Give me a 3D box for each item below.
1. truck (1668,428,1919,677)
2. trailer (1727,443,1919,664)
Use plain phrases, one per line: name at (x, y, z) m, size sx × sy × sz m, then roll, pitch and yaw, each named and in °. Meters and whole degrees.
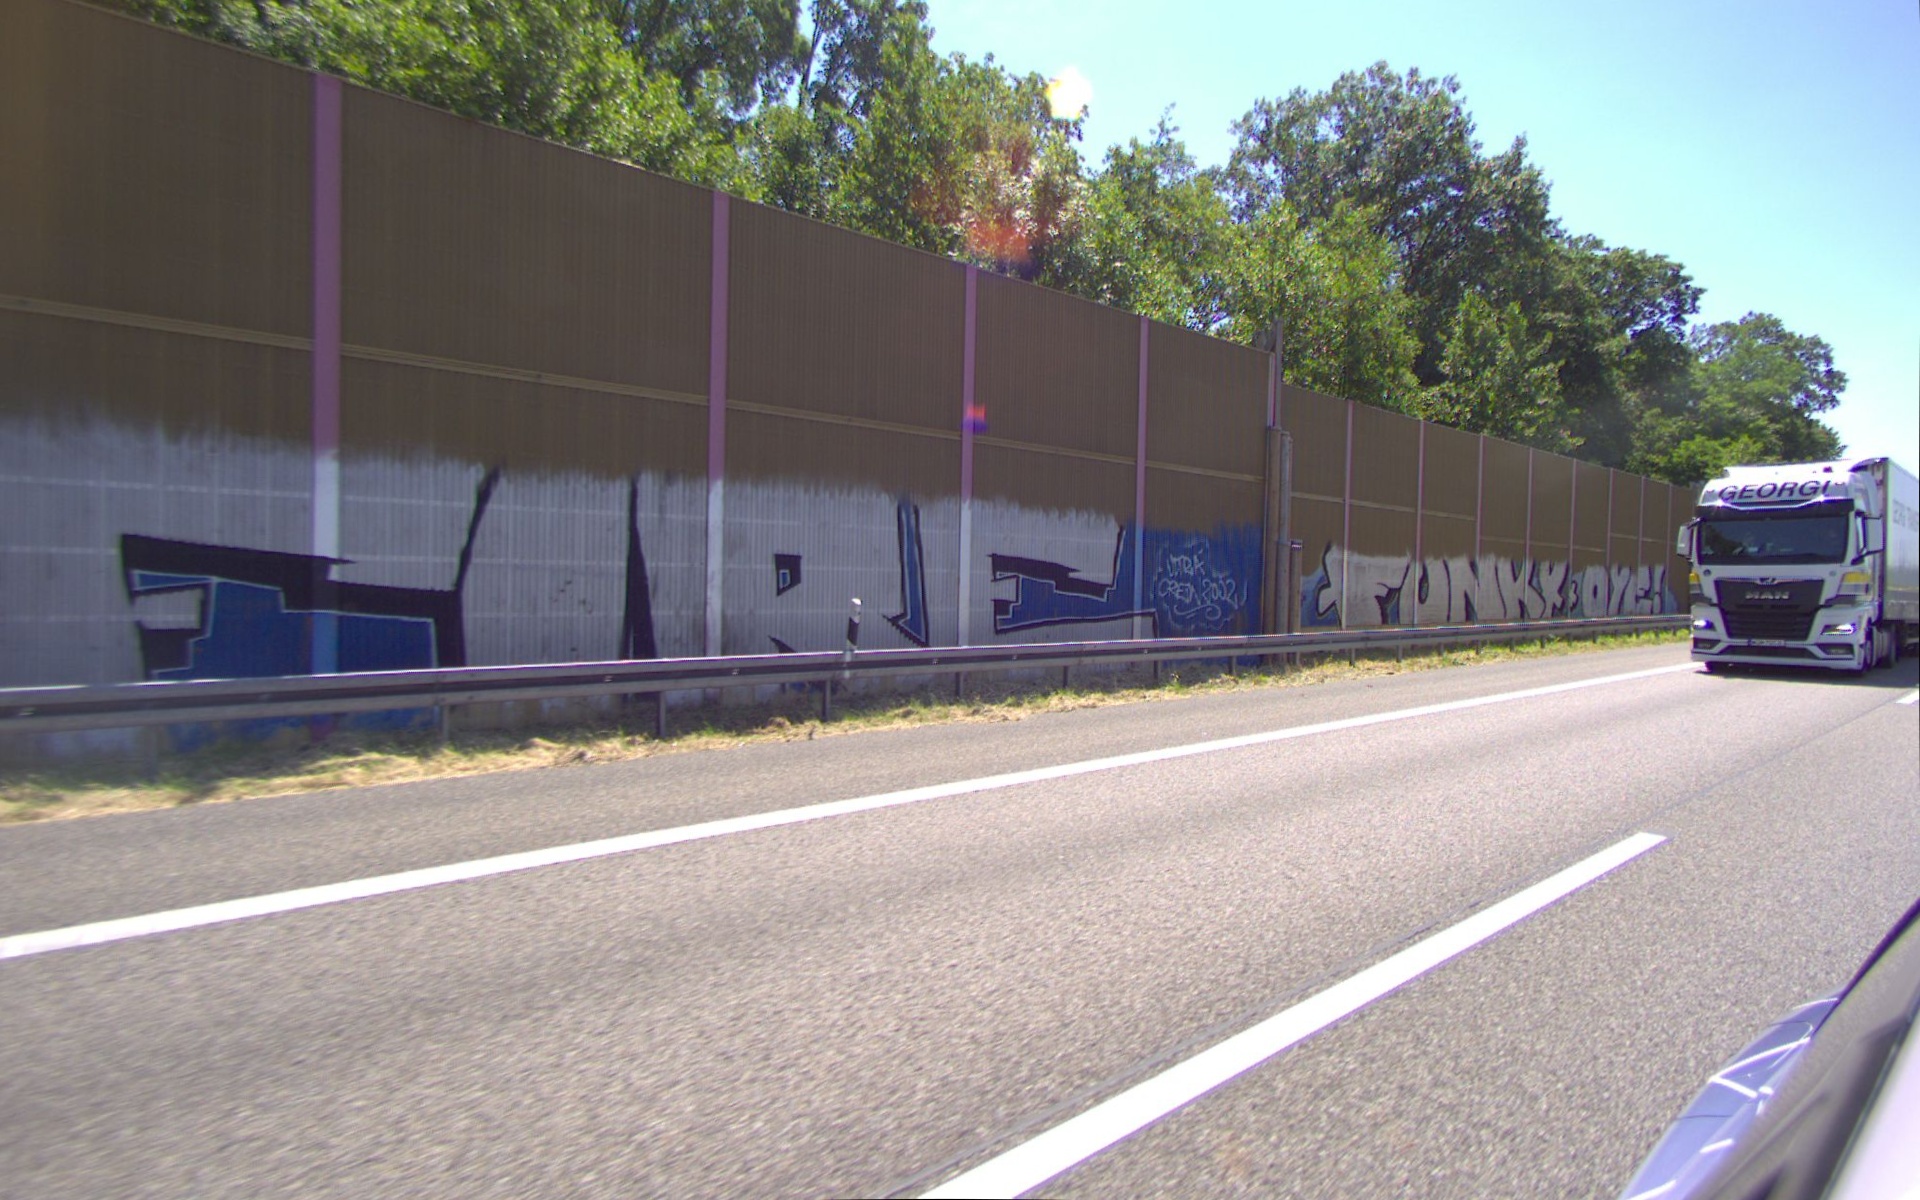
truck at (16.397, -0.853, 19.813) m, size 5.162 × 4.176 × 3.008 m, roll -1°, pitch 1°, yaw -41°
trailer at (22.734, -0.995, 25.357) m, size 13.185 × 4.343 × 2.998 m, roll -1°, pitch 1°, yaw -41°
